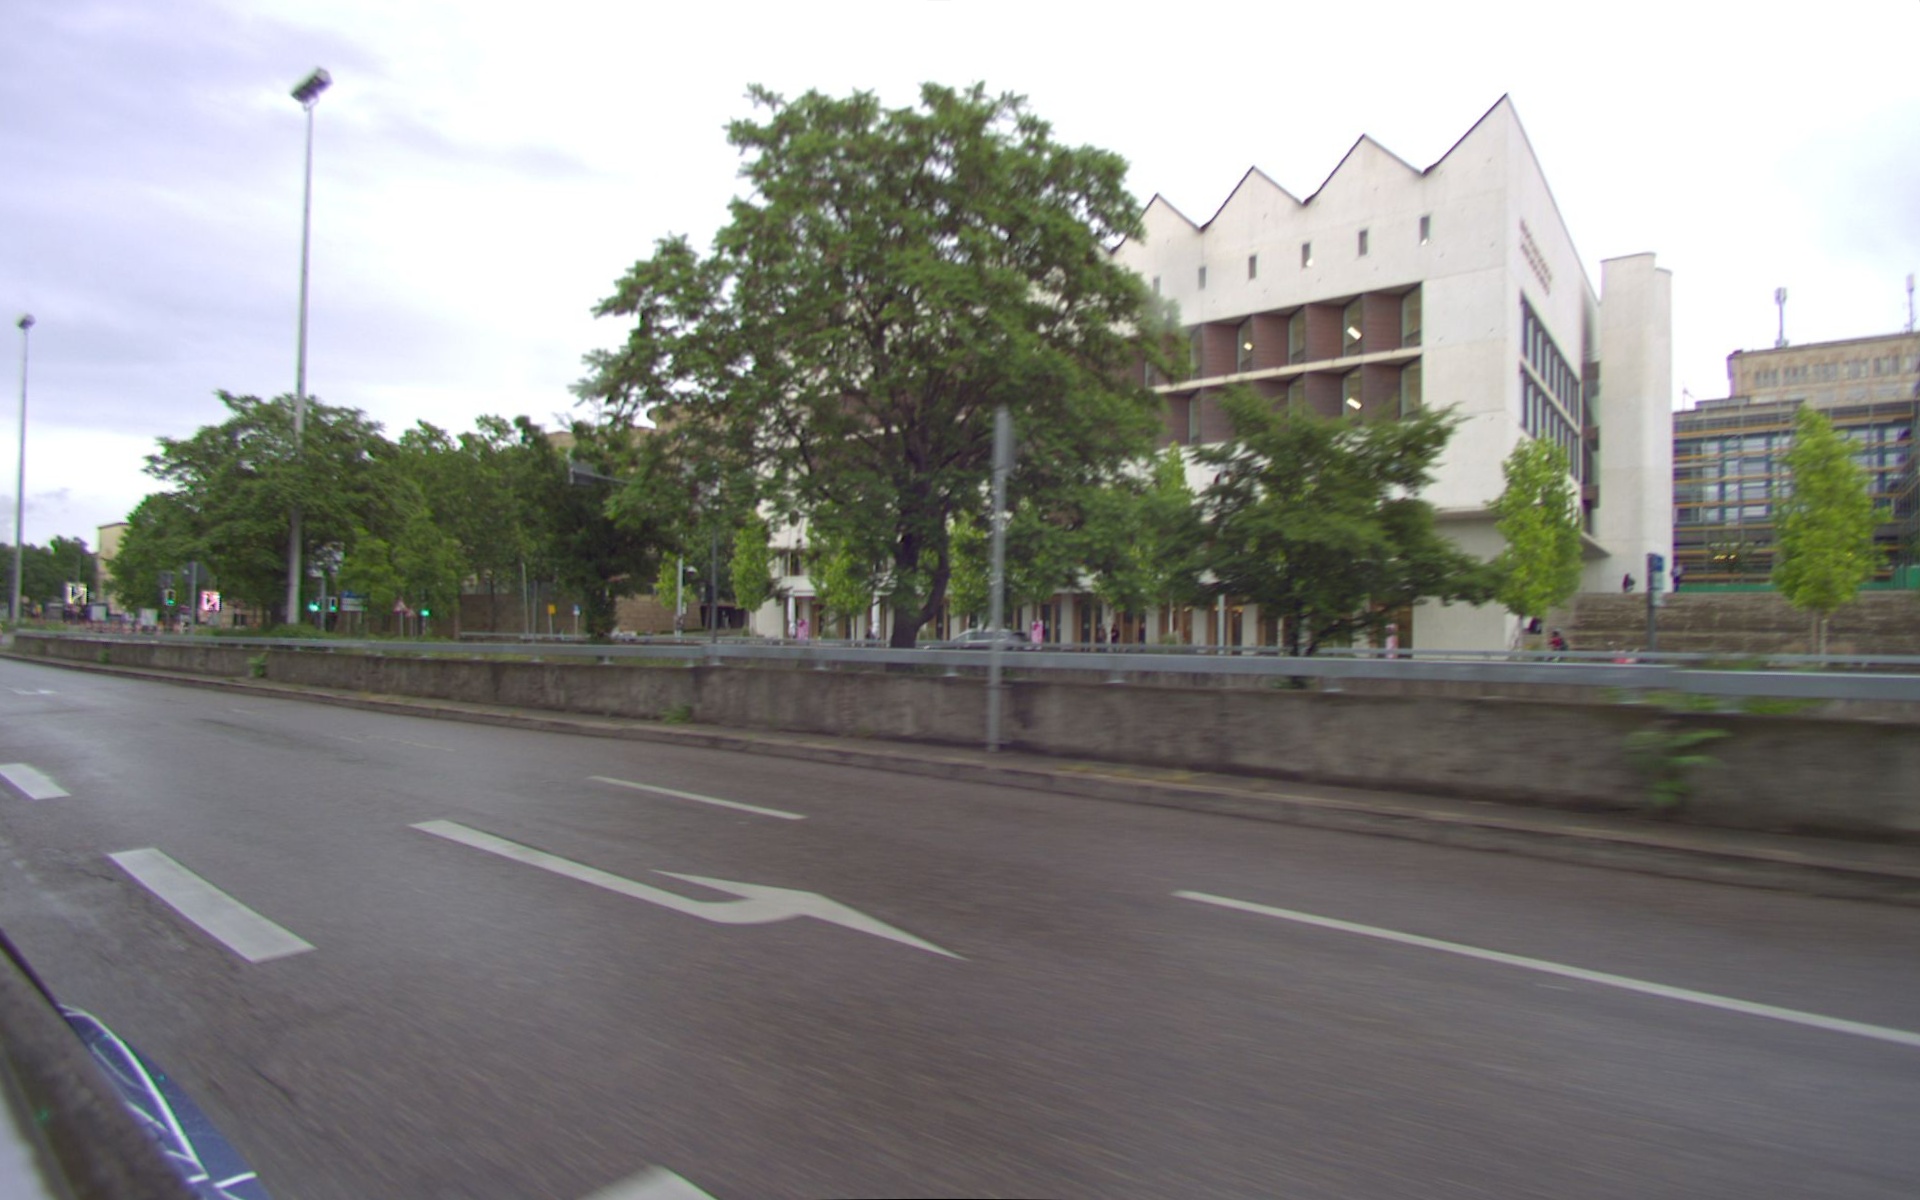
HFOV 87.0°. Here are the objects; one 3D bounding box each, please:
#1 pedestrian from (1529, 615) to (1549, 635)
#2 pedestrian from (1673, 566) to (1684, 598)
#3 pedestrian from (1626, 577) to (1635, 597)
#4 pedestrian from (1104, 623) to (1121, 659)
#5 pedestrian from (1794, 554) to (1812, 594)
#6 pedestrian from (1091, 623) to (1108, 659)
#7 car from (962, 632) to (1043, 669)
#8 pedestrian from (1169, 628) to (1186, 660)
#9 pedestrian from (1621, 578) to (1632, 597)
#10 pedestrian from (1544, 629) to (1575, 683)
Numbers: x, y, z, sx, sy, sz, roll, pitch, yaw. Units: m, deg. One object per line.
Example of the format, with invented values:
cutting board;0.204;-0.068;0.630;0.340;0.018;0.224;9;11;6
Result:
pedestrian;25.762;1.111;45.038;0.628;0.894;0.798;-1;-1;41
pedestrian;35.707;-0.873;50.295;0.311;1.585;0.311;0;-1;10
pedestrian;38.163;-0.758;57.584;0.413;1.120;0.313;1;-1;-35
pedestrian;8.108;2.152;53.699;0.729;1.873;0.703;0;-1;-8
pedestrian;43.460;-1.351;52.150;0.604;2.029;0.633;0;-1;32
pedestrian;7.400;2.176;53.770;0.729;1.873;0.703;0;-1;-8
car;1.590;1.881;38.289;2.816;1.287;1.283;0;-1;35
pedestrian;11.152;2.251;51.879;0.697;1.639;0.735;0;-1;22
pedestrian;39.145;-0.738;59.432;0.307;1.120;0.420;0;-1;0
pedestrian;21.595;2.002;36.458;0.828;1.880;1.075;-1;-1;37
